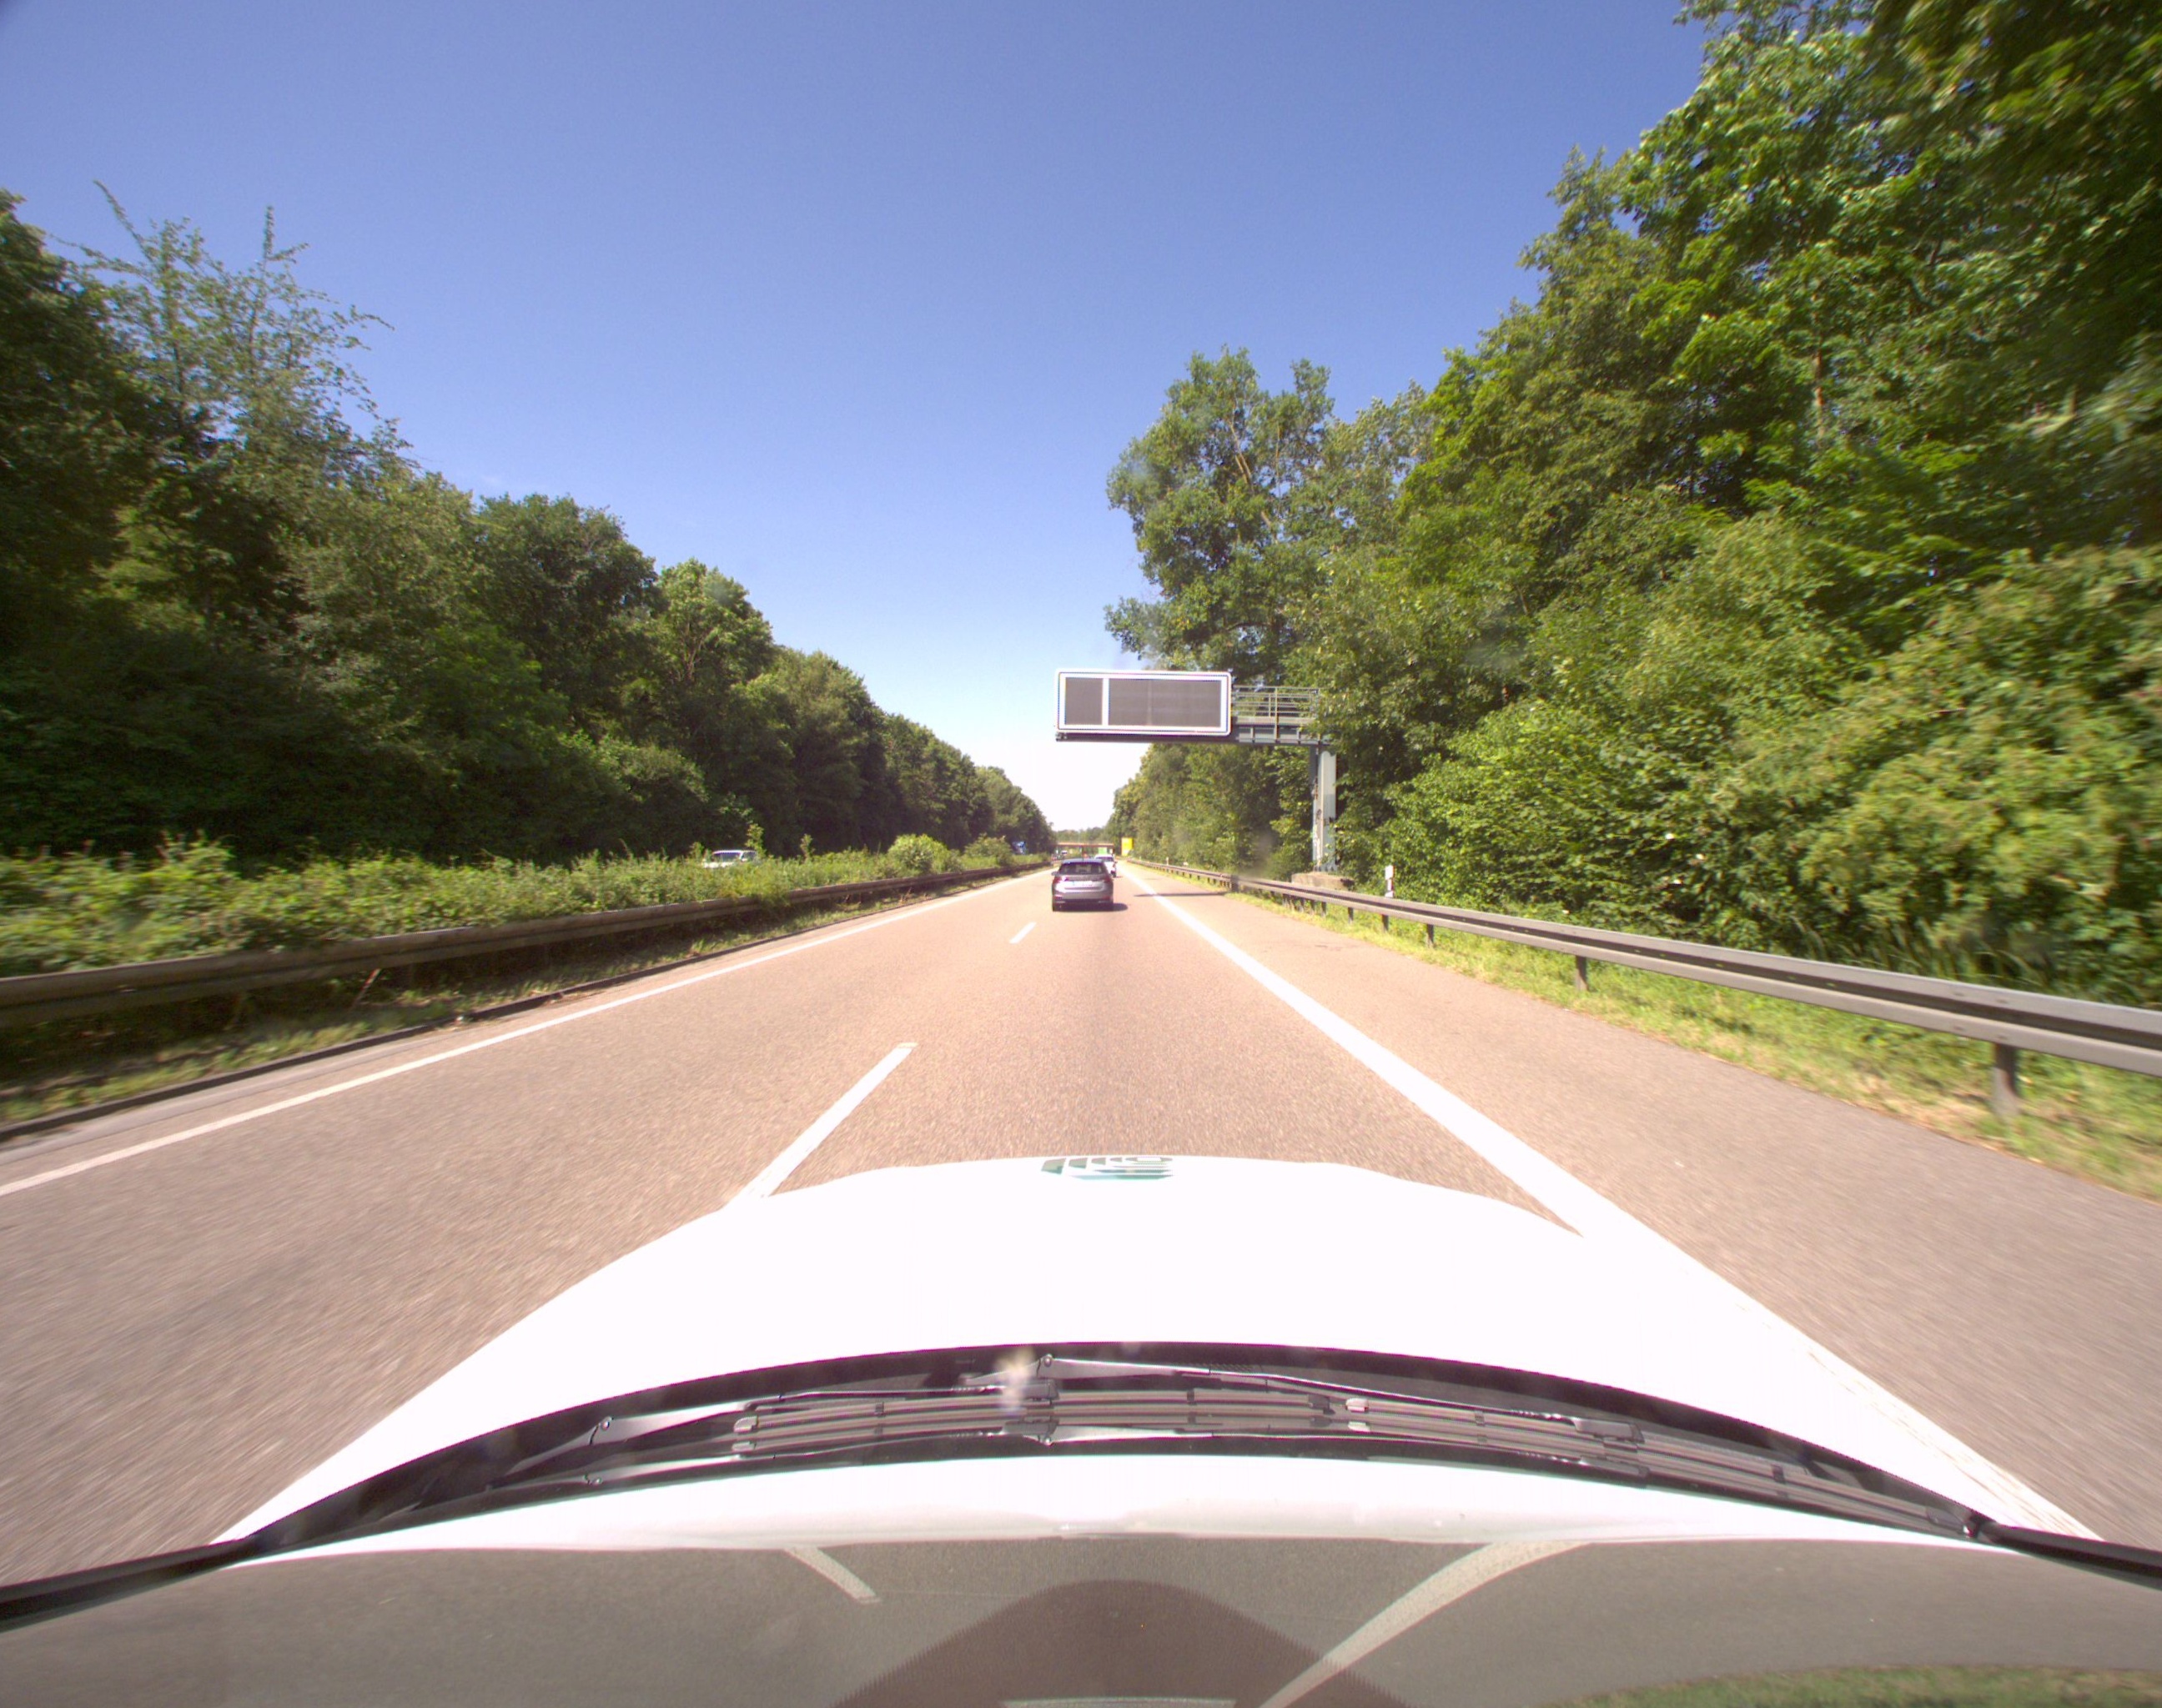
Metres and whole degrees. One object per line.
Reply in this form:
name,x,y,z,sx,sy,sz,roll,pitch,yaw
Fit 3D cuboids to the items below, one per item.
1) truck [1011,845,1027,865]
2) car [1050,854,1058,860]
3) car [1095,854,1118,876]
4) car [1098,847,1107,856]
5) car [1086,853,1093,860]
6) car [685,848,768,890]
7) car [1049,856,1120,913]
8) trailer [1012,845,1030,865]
truck,-11.679,0.171,153.307,2.636,3.706,4.002,0,-1,2
car,-7.108,0.718,213.264,1.665,1.473,3.626,0,0,3
car,1.785,0.763,55.863,1.516,1.446,3.343,0,0,3
car,6.383,-0.763,244.655,2.738,2.654,4.001,0,-1,1
car,2.297,0.720,221.043,1.986,2.014,4.001,0,-1,2
car,-14.826,0.629,34.322,1.687,1.662,4.000,0,0,1
car,0.175,0.805,23.150,1.832,1.472,3.626,0,0,3
trailer,-11.525,0.200,157.906,2.678,3.712,7.987,0,-1,2
